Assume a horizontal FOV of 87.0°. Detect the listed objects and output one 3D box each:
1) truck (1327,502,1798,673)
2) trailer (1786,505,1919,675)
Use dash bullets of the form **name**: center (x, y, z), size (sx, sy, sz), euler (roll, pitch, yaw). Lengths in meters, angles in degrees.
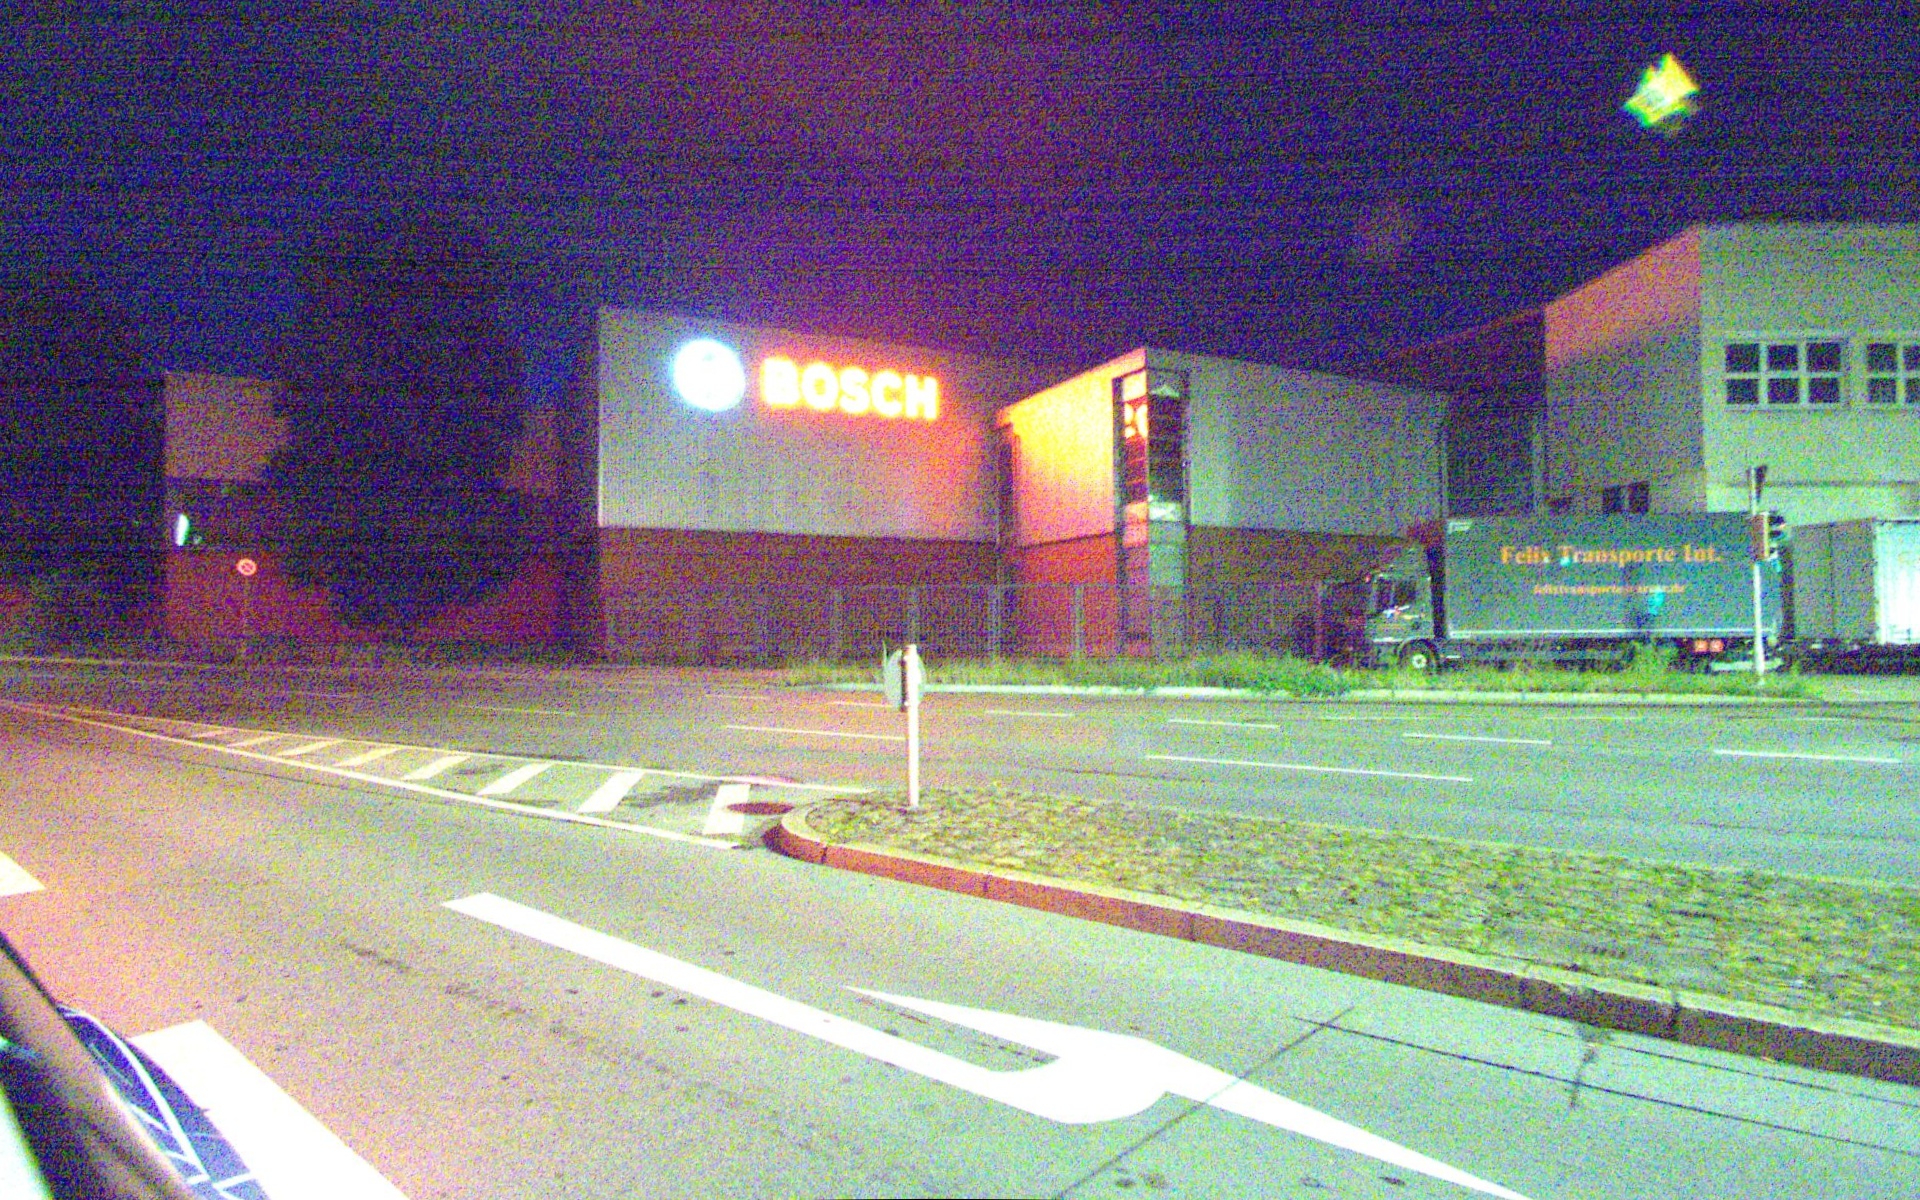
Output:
- **truck**: center (14.233, -0.279, 24.683), size (9.439, 3.825, 2.942), euler (0, -1, 6)
- **trailer**: center (23.911, -0.195, 23.890), size (6.430, 3.819, 2.619), euler (0, -1, 4)
